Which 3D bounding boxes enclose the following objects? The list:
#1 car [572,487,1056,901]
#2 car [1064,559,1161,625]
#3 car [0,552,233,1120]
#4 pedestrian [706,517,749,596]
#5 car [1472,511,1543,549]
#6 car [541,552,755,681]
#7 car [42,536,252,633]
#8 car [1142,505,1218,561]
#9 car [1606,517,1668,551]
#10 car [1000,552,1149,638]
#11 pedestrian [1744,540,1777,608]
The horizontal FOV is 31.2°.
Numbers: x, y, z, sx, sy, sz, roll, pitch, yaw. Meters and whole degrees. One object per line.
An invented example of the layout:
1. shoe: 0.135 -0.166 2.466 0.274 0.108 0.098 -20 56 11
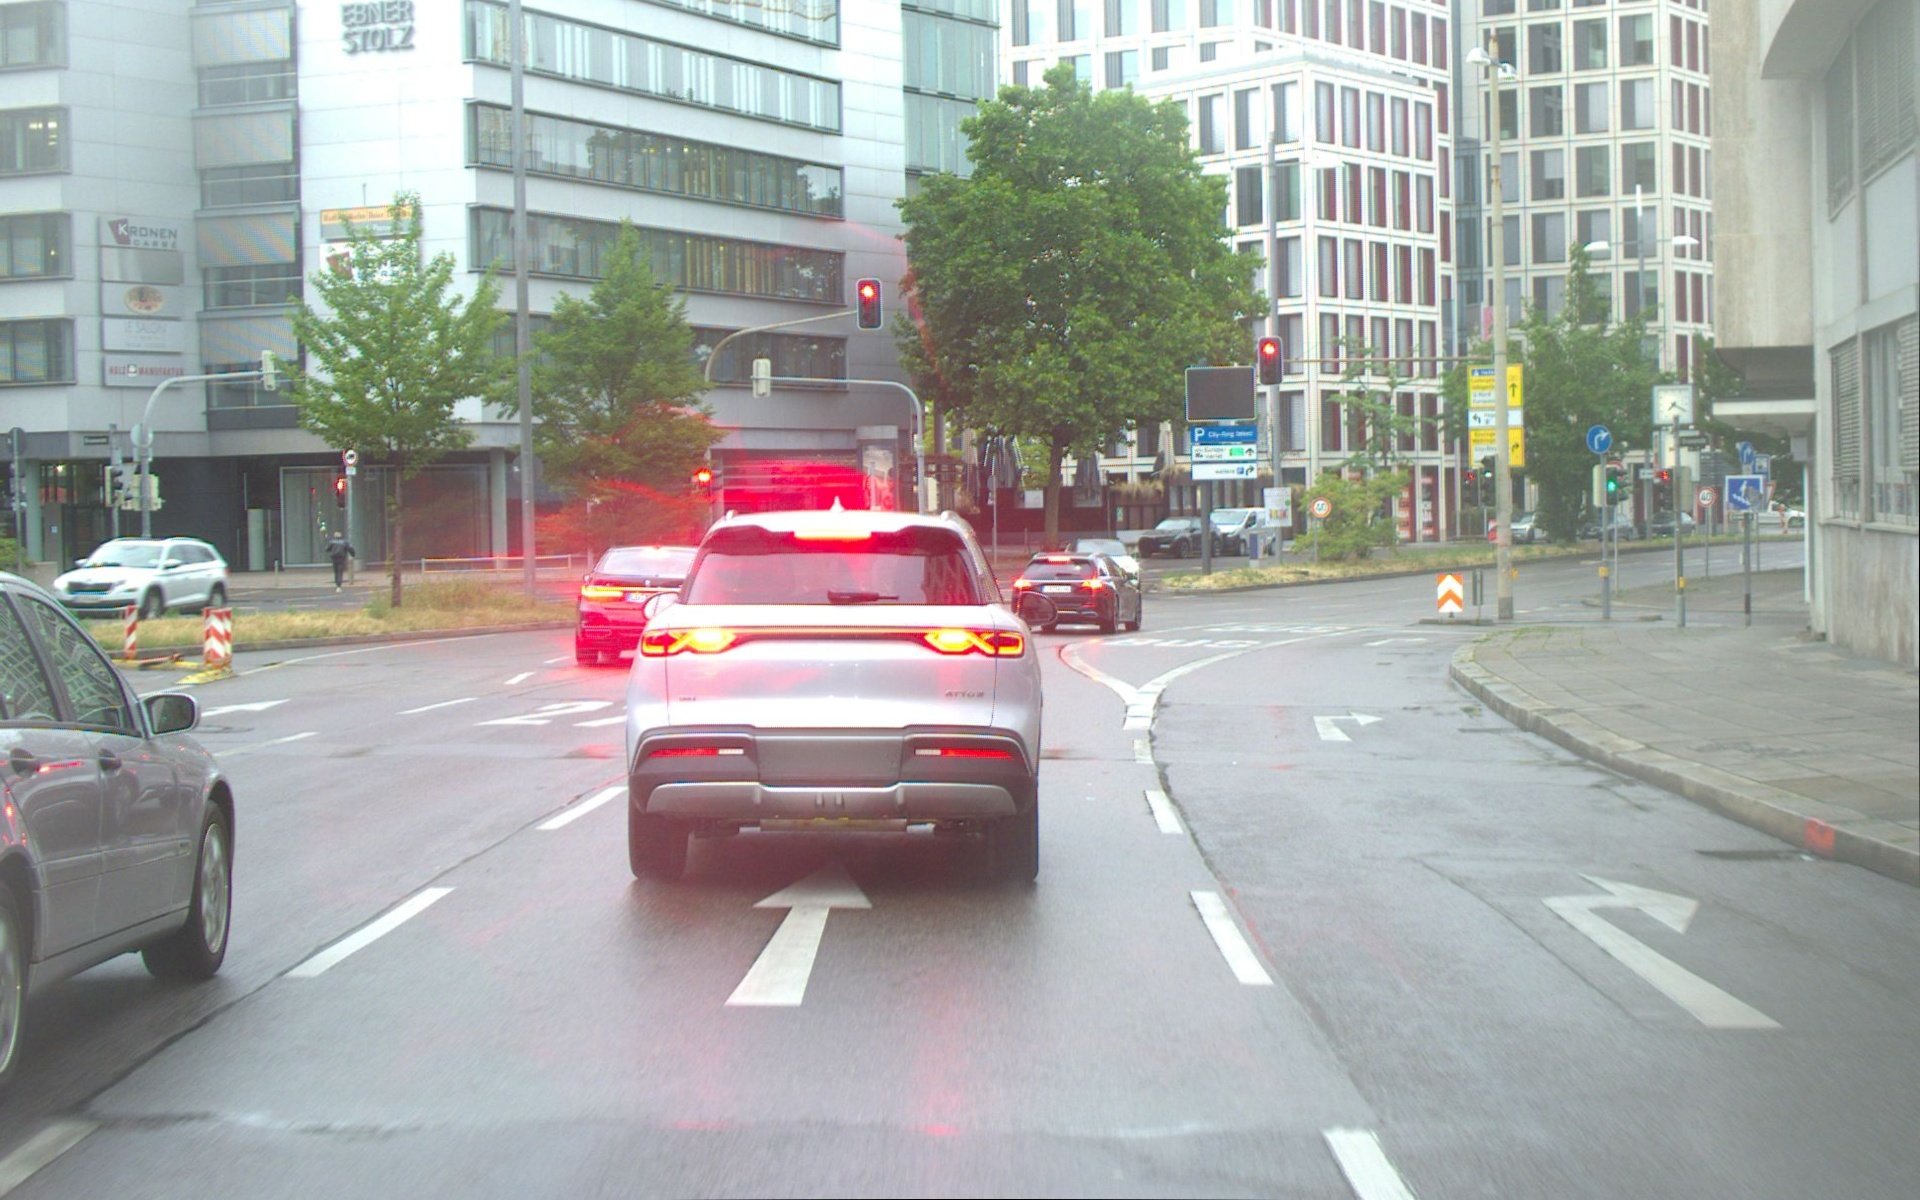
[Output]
1. car: -0.635 0.352 16.462 1.993 1.703 4.483 0 1 -1
2. car: 4.209 -0.241 95.577 1.993 1.744 4.532 0 1 -7
3. car: -3.376 0.611 10.002 1.682 1.481 4.197 0 1 -1
4. pedestrian: -5.111 -0.962 75.546 0.922 1.732 0.730 0 1 -2
5. car: 26.410 -3.389 165.856 1.997 1.700 4.302 1 3 30
6. car: -3.844 0.162 43.035 1.955 1.525 3.999 0 1 6
7. car: -15.223 -0.306 64.598 1.739 1.722 4.489 1 1 18
8. car: 8.823 -2.676 137.649 1.739 2.154 4.489 1 1 21
9. car: 36.283 -3.571 184.124 1.997 1.700 4.302 1 3 30
10. car: 2.141 -0.121 63.092 1.956 1.525 3.998 0 1 14
11. pedestrian: 19.547 -0.637 83.974 0.728 1.663 0.690 0 0 18
